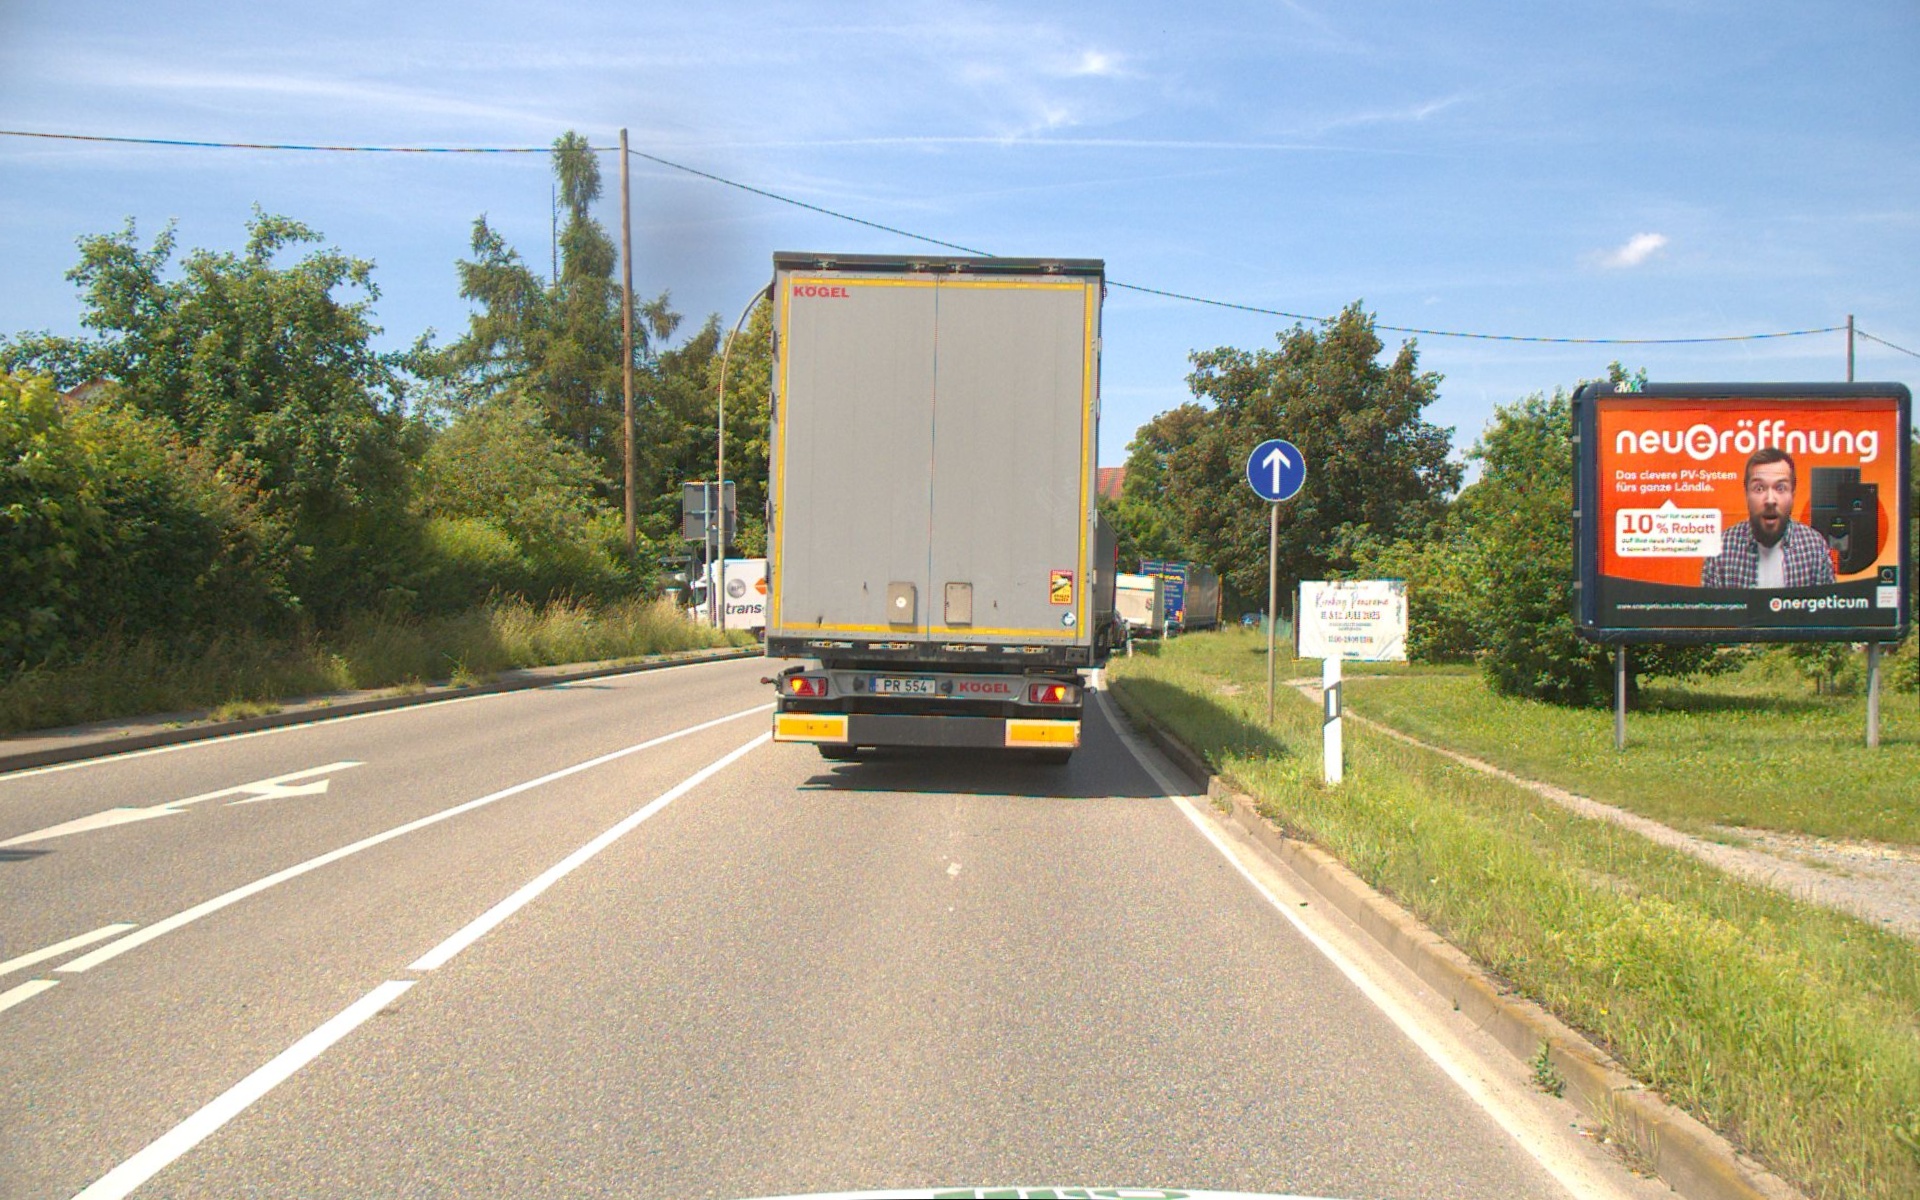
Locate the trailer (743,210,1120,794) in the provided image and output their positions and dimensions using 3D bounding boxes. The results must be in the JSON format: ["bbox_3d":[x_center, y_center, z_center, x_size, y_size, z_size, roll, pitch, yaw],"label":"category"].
[{"bbox_3d":[0.090,-0.795,18.280,2.728,4.278,12.116,1,1,3],"label":"trailer"}]

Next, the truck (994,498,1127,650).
[{"bbox_3d":[3.469,-0.810,54.899,3.853,4.655,7.157,1,0,7],"label":"truck"}]

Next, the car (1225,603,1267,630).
[{"bbox_3d":[19.694,1.122,113.697,1.953,1.713,3.999,1,1,23],"label":"car"}]

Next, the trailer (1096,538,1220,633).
[{"bbox_3d":[11.258,-0.803,91.697,5.069,4.709,15.909,1,1,13],"label":"trailer"}]

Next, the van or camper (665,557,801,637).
[{"bbox_3d":[-8.226,-0.111,59.793,4.768,2.762,2.192,1,0,-11],"label":"van or camper"}]

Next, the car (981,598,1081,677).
[{"bbox_3d":[1.605,0.772,36.266,1.951,1.556,4.003,1,1,5],"label":"car"}]

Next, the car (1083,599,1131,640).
[{"bbox_3d":[5.879,0.756,65.746,1.802,1.512,4.003,1,1,6],"label":"car"}]

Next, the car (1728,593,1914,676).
[{"bbox_3d":[22.817,0.894,43.980,3.902,2.049,2.002,1,0,7],"label":"car"}]

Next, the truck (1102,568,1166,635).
[{"bbox_3d":[7.958,0.053,75.297,2.369,2.888,5.417,1,1,11],"label":"truck"}]

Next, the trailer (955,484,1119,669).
[{"bbox_3d":[2.531,-0.598,47.898,3.808,4.600,12.722,1,0,7],"label":"trailer"}]

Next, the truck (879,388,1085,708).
[{"bbox_3d":[0.453,-0.726,25.166,2.688,4.238,6.145,1,0,3],"label":"truck"}]
